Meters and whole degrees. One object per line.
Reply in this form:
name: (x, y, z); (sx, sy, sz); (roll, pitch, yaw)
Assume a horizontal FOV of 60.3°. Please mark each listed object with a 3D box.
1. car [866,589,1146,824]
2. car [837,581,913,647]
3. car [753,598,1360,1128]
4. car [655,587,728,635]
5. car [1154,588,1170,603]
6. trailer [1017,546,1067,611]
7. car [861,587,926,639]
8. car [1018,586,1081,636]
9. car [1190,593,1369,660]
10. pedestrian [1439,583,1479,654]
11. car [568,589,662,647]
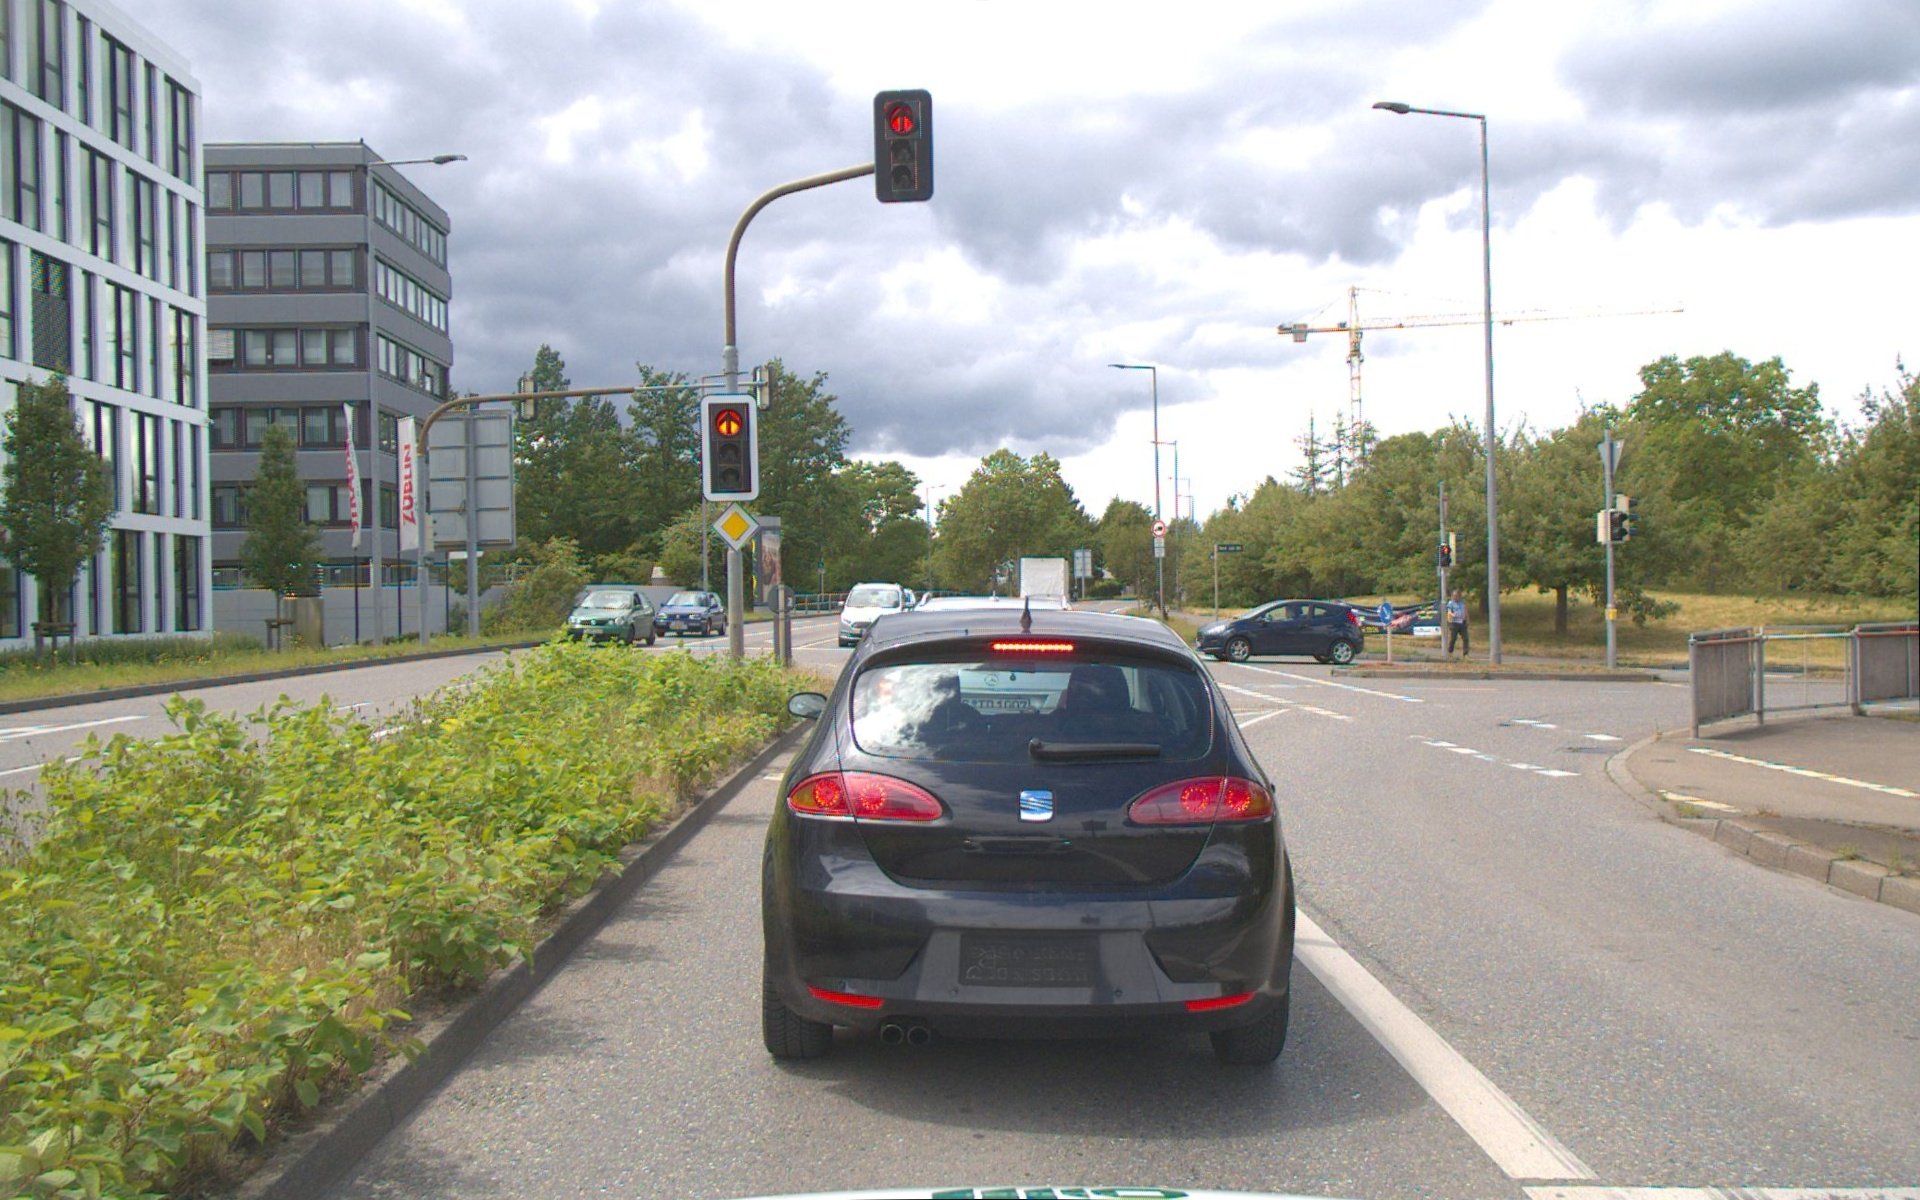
car: (0.313, 0.696, 12.602); (1.797, 1.493, 3.751); (1, 0, 0)
car: (-2.323, 0.341, 46.161); (1.783, 1.716, 4.646); (1, 1, 1)
car: (0.253, 0.735, 6.341); (1.676, 1.442, 3.459); (1, 0, -1)
car: (-8.498, 0.333, 52.613); (1.521, 1.444, 3.897); (1, 1, 3)
car: (22.154, -0.482, 181.284); (1.631, 1.624, 4.003); (1, 0, 9)
trailer: (4.164, -1.054, 84.033); (2.439, 3.127, 5.589); (1, 0, 3)
car: (-2.067, 0.374, 52.243); (1.625, 1.545, 4.086); (1, 1, 3)
car: (2.922, 0.328, 54.124); (1.952, 1.593, 4.472); (0, 0, 3)
car: (7.473, 0.618, 38.911); (3.803, 1.471, 1.758); (1, 0, -5)
pedestrian: (13.063, 0.485, 43.313); (0.704, 1.824, 1.043); (1, 0, -2)
car: (-8.980, 0.435, 43.260); (1.572, 1.457, 3.753); (0, 0, 1)
